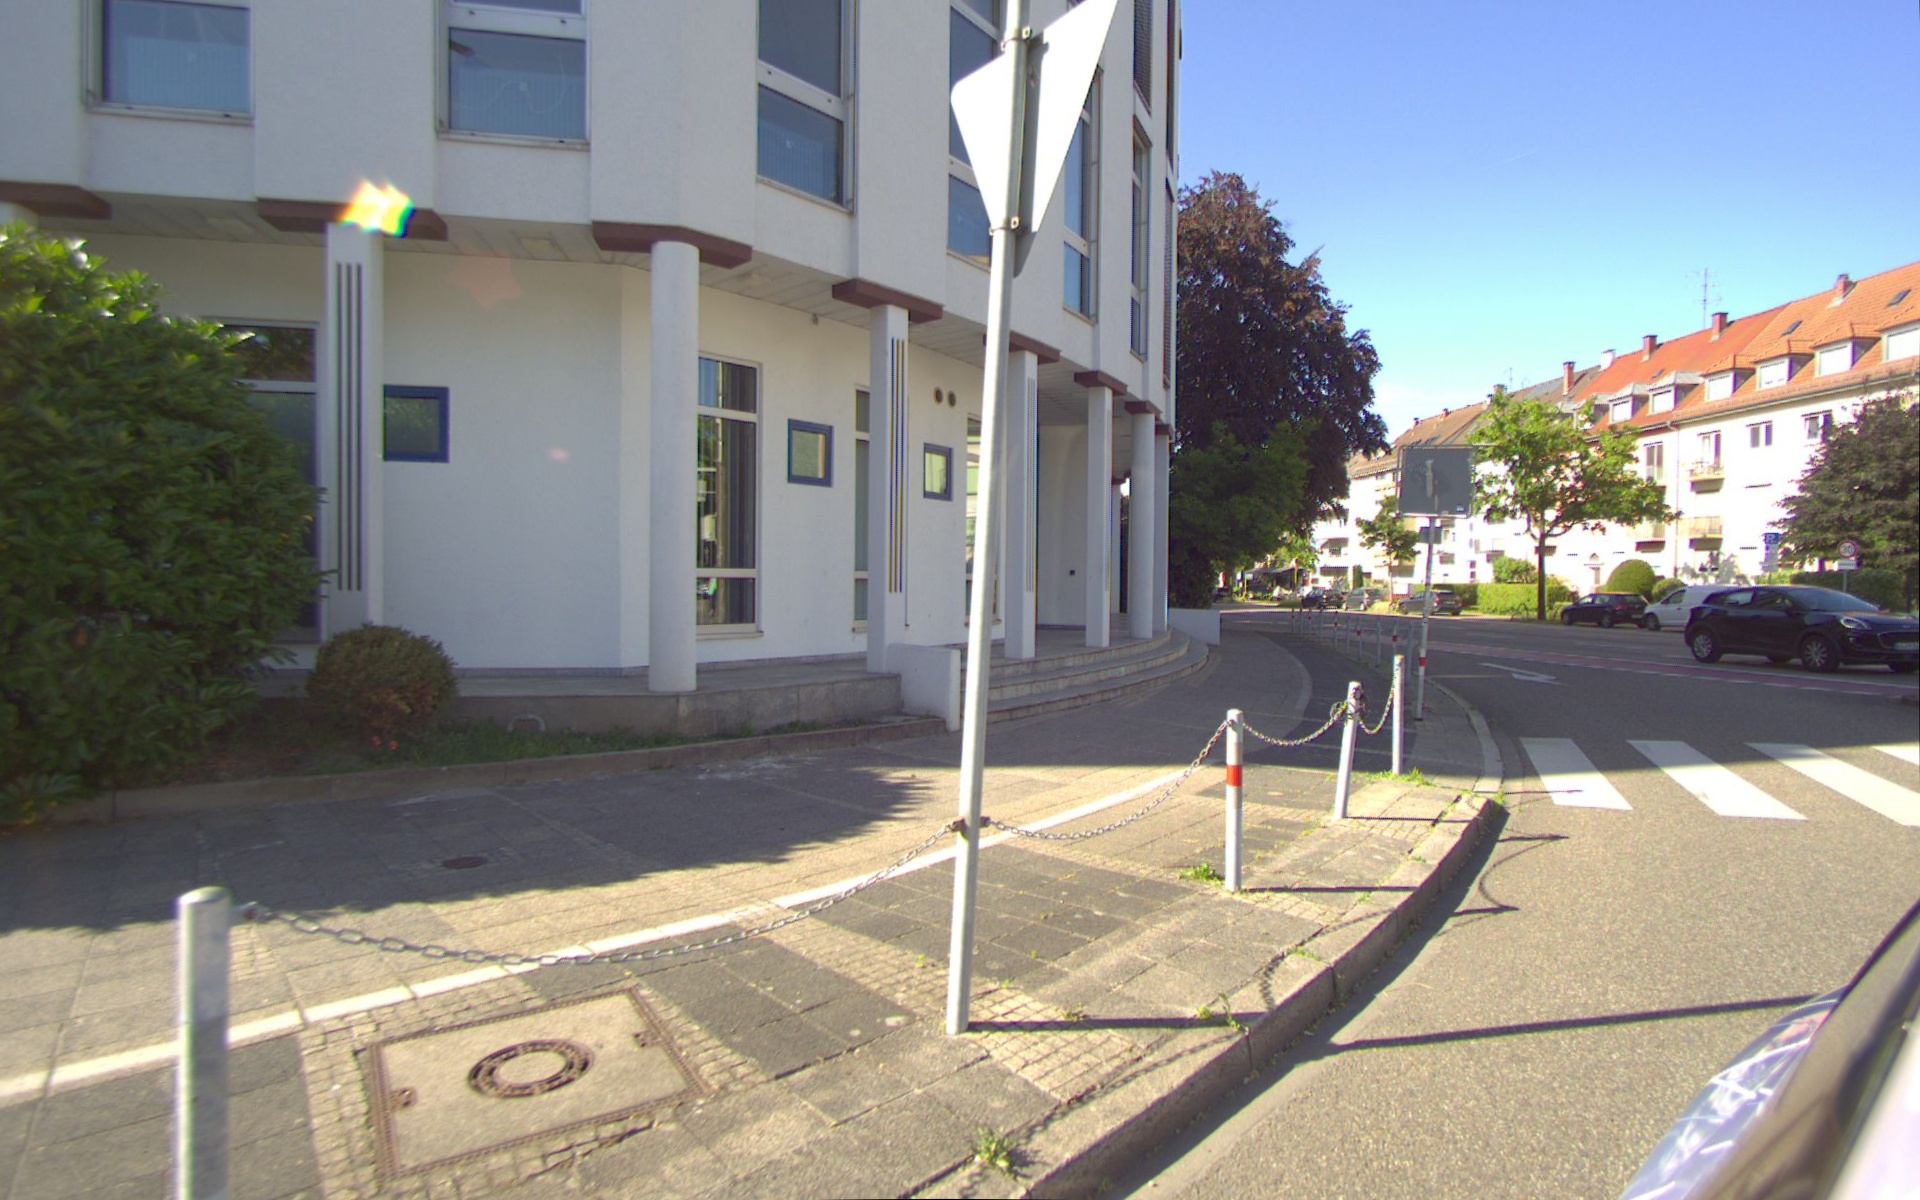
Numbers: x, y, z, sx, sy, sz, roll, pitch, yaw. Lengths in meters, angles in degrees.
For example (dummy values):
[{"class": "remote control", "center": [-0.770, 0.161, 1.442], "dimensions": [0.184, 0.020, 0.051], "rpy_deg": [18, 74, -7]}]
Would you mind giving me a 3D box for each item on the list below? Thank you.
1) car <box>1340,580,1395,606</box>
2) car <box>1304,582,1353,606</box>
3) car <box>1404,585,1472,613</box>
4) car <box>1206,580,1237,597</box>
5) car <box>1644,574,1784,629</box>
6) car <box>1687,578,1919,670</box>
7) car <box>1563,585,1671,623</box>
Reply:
[{"class": "car", "center": [26.848, -0.453, 66.830], "dimensions": [1.770, 1.581, 4.169], "rpy_deg": [-2, 1, -3]}, {"class": "car", "center": [26.562, -0.427, 73.113], "dimensions": [1.770, 1.581, 4.169], "rpy_deg": [-2, 1, -3]}, {"class": "car", "center": [27.097, -0.081, 57.470], "dimensions": [1.770, 1.476, 4.007], "rpy_deg": [-2, 1, -3]}, {"class": "car", "center": [25.311, -1.123, 98.130], "dimensions": [1.770, 1.581, 3.926], "rpy_deg": [-2, 1, -3]}, {"class": "car", "center": [28.146, 0.045, 37.980], "dimensions": [1.769, 1.881, 4.172], "rpy_deg": [-2, 1, -7]}, {"class": "car", "center": [15.715, 0.367, 18.577], "dimensions": [1.663, 1.510, 4.077], "rpy_deg": [0, 1, -2]}, {"class": "car", "center": [27.830, 0.136, 43.014], "dimensions": [1.770, 1.447, 4.053], "rpy_deg": [-2, 1, -3]}]
